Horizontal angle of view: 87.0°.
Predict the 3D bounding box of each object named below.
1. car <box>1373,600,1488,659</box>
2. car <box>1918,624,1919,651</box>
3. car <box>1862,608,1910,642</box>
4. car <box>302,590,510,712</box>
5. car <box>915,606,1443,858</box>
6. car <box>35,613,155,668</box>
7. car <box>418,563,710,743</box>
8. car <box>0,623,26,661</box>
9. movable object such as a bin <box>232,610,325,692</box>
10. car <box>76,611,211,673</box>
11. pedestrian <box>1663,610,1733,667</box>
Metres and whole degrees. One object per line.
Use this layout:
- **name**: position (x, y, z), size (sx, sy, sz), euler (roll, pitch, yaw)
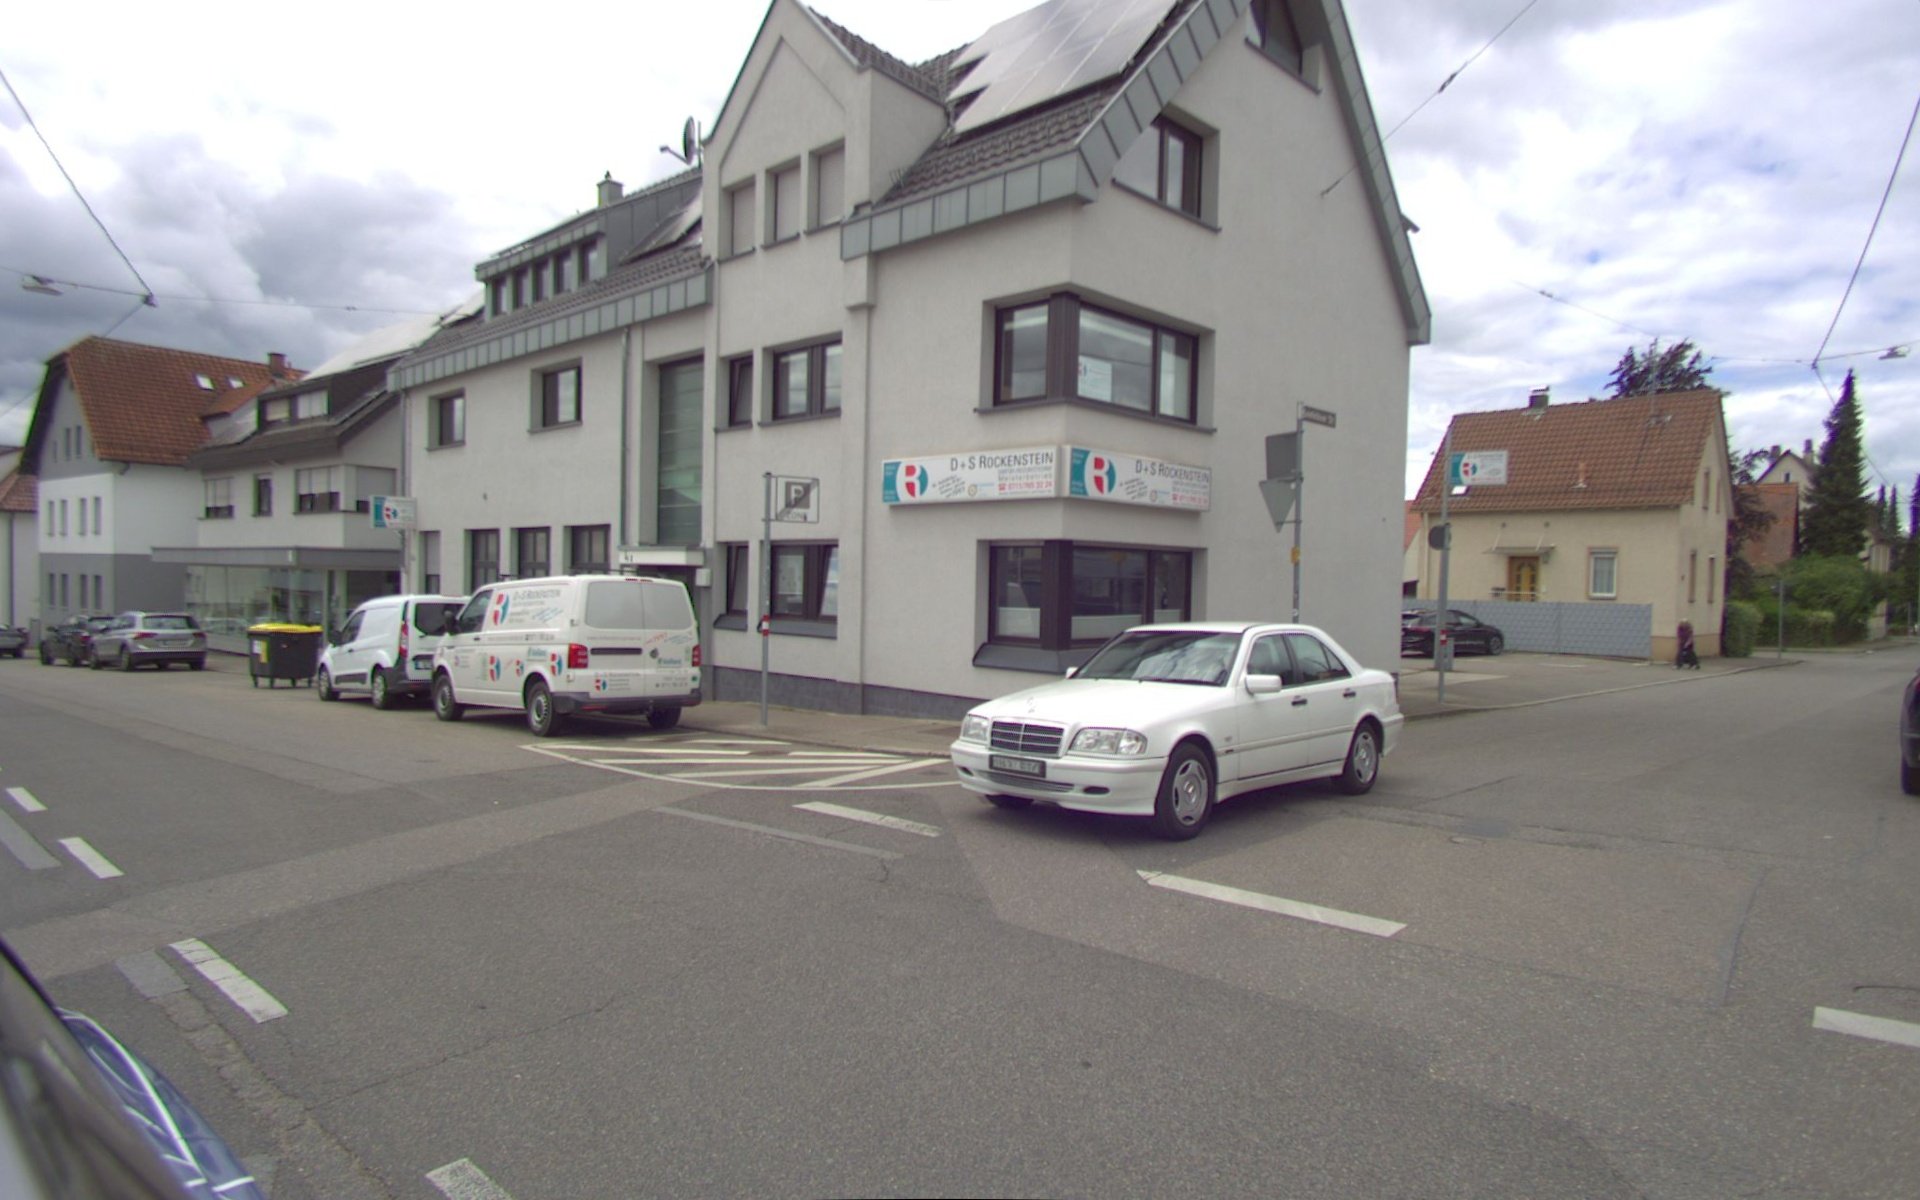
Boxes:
- **car**: position (14.778, 0.874, 31.690), size (3.996, 1.602, 1.806), euler (-2, 2, -41)
- **car**: position (57.476, 2.081, 58.710), size (4.758, 1.519, 2.275), euler (-3, 2, -40)
- **car**: position (62.205, 1.669, 67.967), size (3.940, 2.028, 2.002), euler (-3, 2, -43)
- **car**: position (-9.588, 0.830, 17.371), size (4.295, 1.846, 1.715), euler (-1, -3, 41)
- **car**: position (1.980, 0.828, 8.146), size (4.500, 1.456, 2.002), euler (2, -2, -44)
- **car**: position (-27.447, 1.255, 32.073), size (4.397, 1.645, 1.822), euler (-1, -2, 35)
- **car**: position (-5.487, 0.664, 13.685), size (4.763, 2.021, 1.792), euler (-1, -3, 43)
- **car**: position (-38.873, 1.662, 40.069), size (4.456, 1.456, 1.822), euler (-1, -2, 35)
- **movable object such as a bin**: position (-14.406, 1.055, 21.395), size (1.559, 1.645, 1.130), euler (-1, -2, 35)
- **car**: position (-23.229, 1.157, 28.748), size (4.397, 1.645, 1.822), euler (-1, -2, 35)
- **pedestrian**: position (21.580, 1.120, 29.593), size (1.277, 1.599, 1.060), euler (2, 0, -19)
